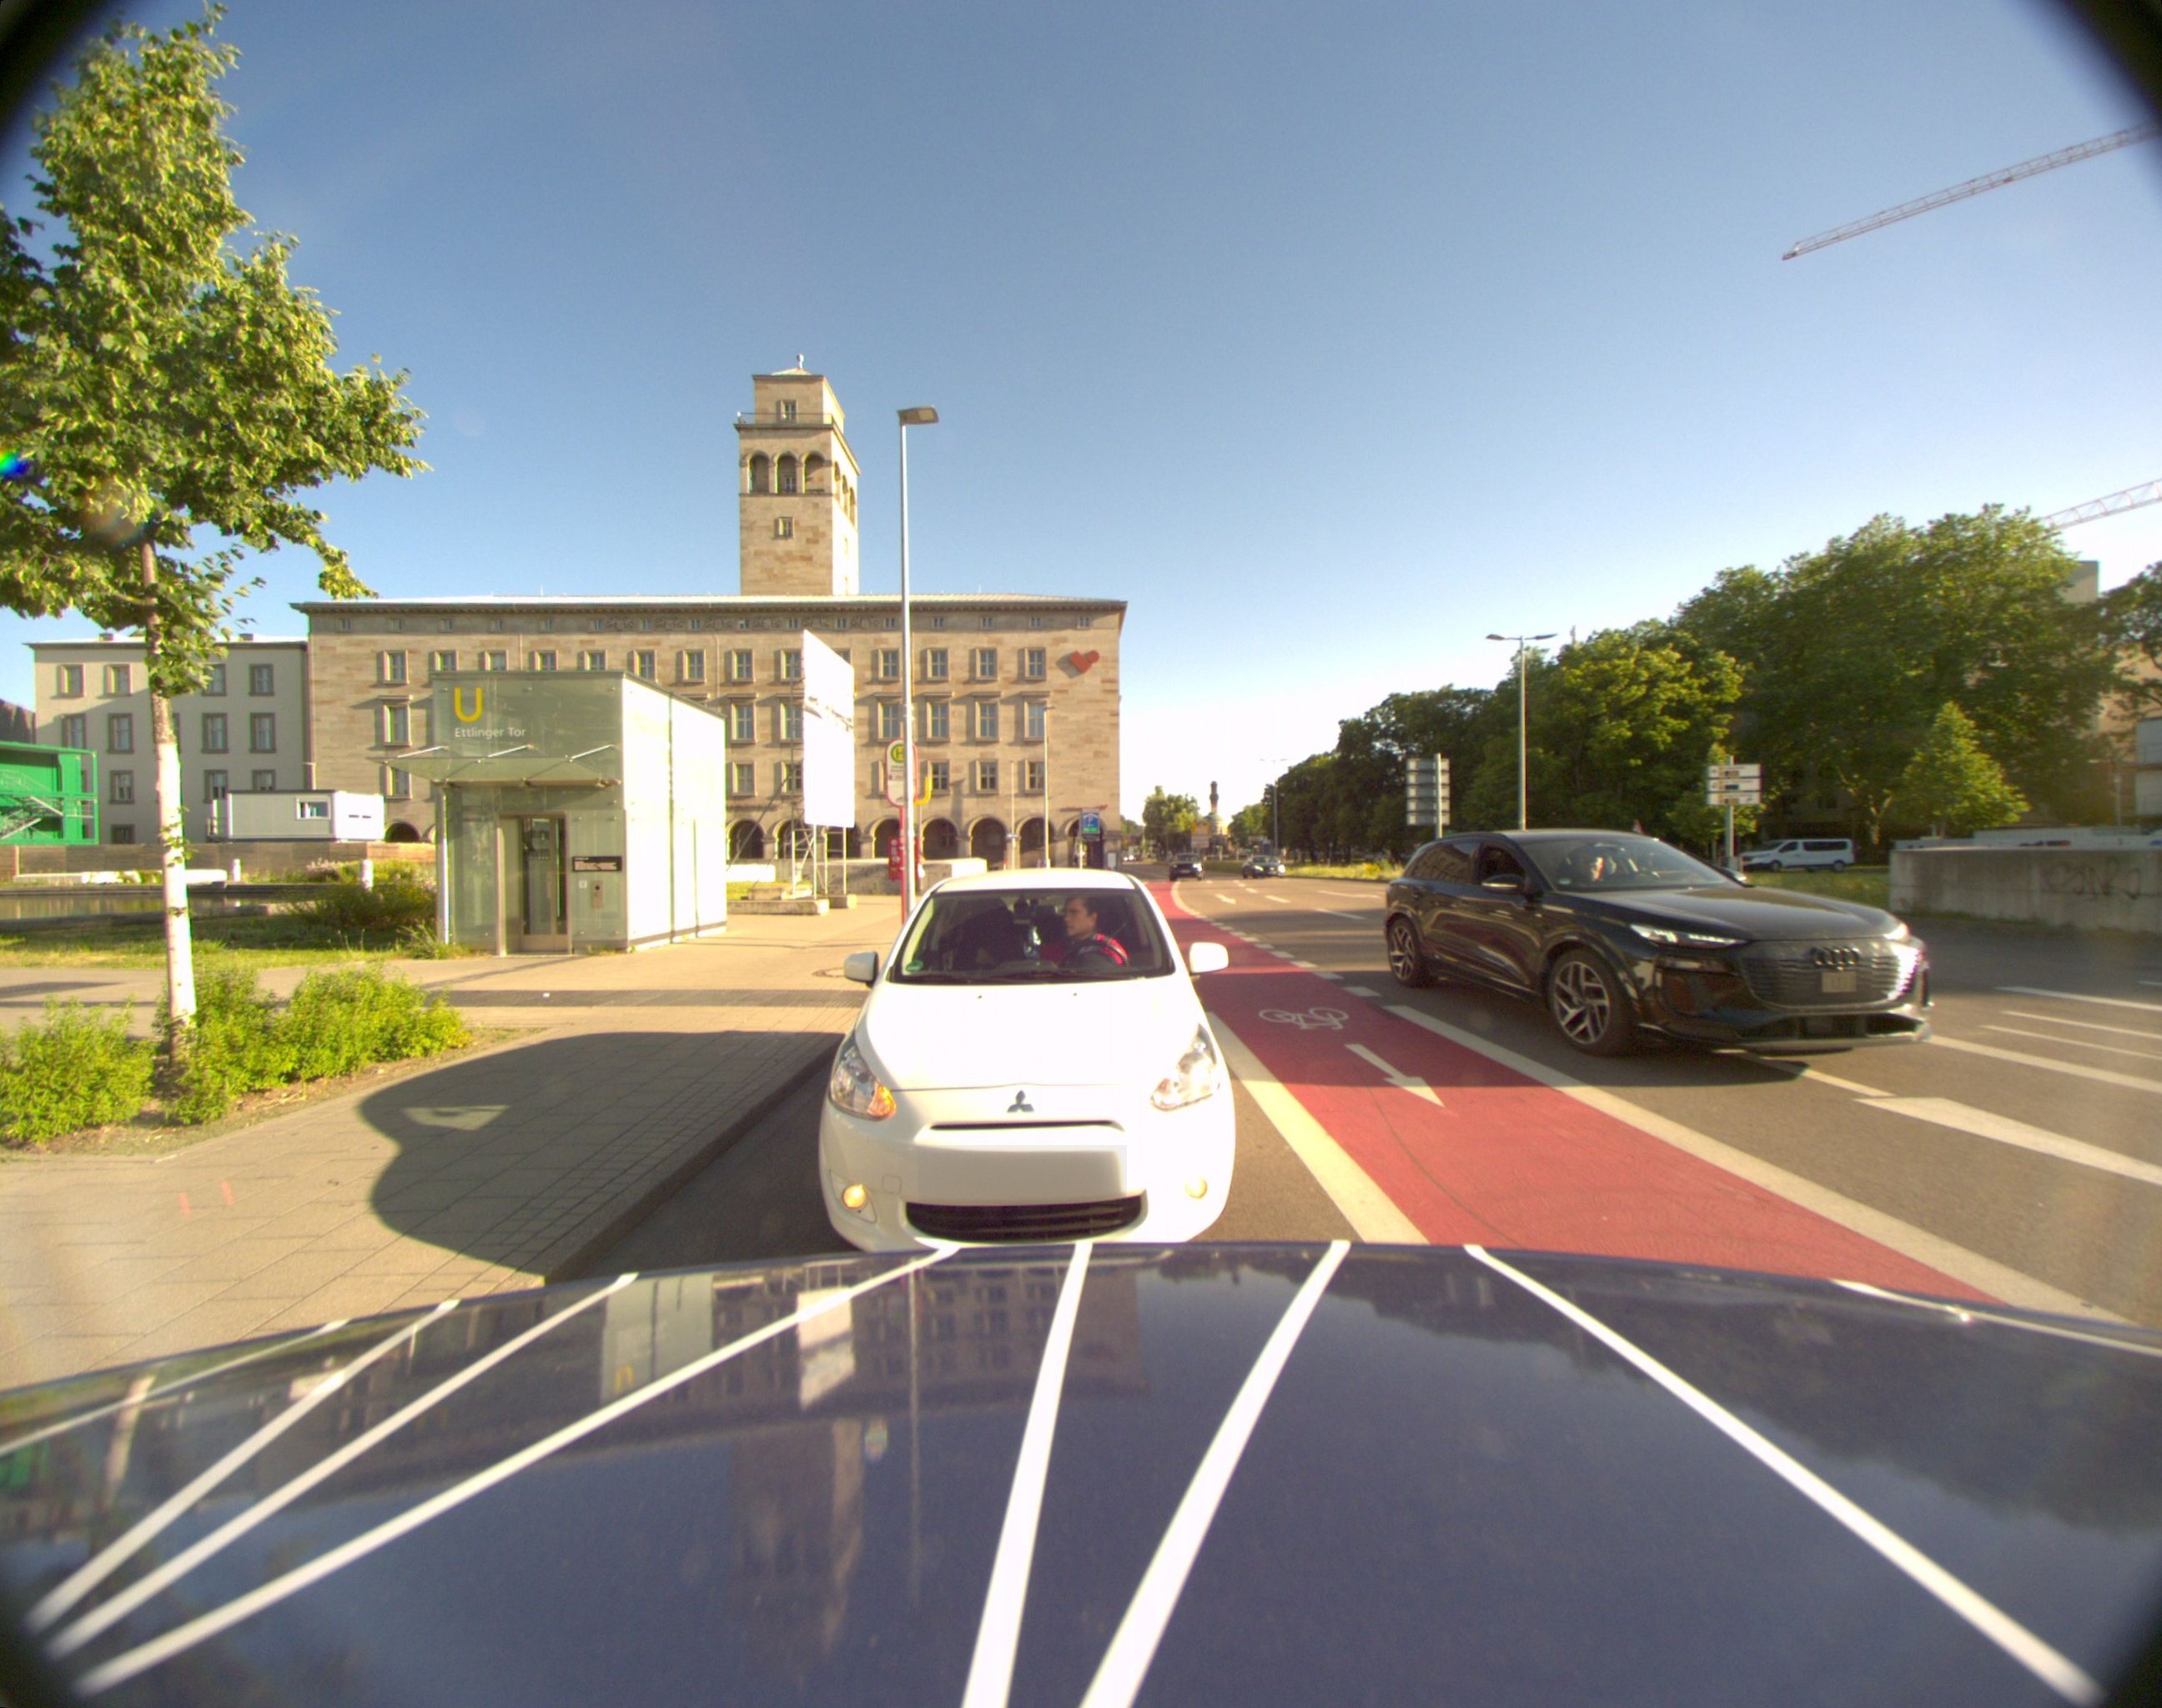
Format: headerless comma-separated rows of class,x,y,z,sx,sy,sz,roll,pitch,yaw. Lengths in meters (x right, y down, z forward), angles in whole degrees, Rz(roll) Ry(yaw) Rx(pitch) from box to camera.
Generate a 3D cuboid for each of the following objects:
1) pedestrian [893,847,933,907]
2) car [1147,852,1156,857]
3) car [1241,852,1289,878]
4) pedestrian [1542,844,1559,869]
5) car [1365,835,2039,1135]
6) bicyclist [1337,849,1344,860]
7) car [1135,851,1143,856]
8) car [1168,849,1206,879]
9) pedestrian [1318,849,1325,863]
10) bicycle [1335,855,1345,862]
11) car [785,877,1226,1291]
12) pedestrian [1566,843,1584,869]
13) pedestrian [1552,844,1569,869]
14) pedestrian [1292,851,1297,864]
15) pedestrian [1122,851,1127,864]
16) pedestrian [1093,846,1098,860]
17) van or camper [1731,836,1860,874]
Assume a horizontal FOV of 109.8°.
pedestrian,-5.109,0.690,23.213,0.942,1.776,1.072,1,1,1
car,18.348,0.172,198.675,1.873,1.390,3.999,-1,0,-1
car,11.255,0.653,46.719,1.998,1.398,4.489,-2,0,2
pedestrian,32.261,0.160,52.193,0.707,1.715,0.762,-1,1,1
car,4.372,0.722,6.571,1.938,1.634,4.615,-1,0,-2
bicyclist,32.235,0.057,94.357,0.610,1.274,0.715,-1,1,-1
car,17.508,-0.194,228.769,1.873,1.390,3.999,-1,0,-2
car,6.480,0.585,45.983,1.997,1.709,4.329,0,0,11
pedestrian,32.299,0.258,102.065,0.628,1.837,0.925,-1,1,-1
bicycle,32.222,0.587,94.404,0.610,0.838,1.745,-1,0,-1
car,-0.281,0.963,4.927,1.678,1.440,3.889,-2,0,0
pedestrian,34.052,0.134,52.350,0.707,1.715,0.762,-1,1,-1
pedestrian,33.103,0.168,52.429,0.665,1.715,0.762,-1,1,1
pedestrian,32.279,0.513,114.915,0.568,1.837,0.734,-1,1,-1
pedestrian,6.049,0.474,105.712,0.704,1.843,0.828,-1,1,0
pedestrian,1.933,-0.142,100.104,0.704,1.843,0.828,-1,1,0
van or camper,42.311,0.063,45.083,5.649,2.002,1.948,-2,1,2
